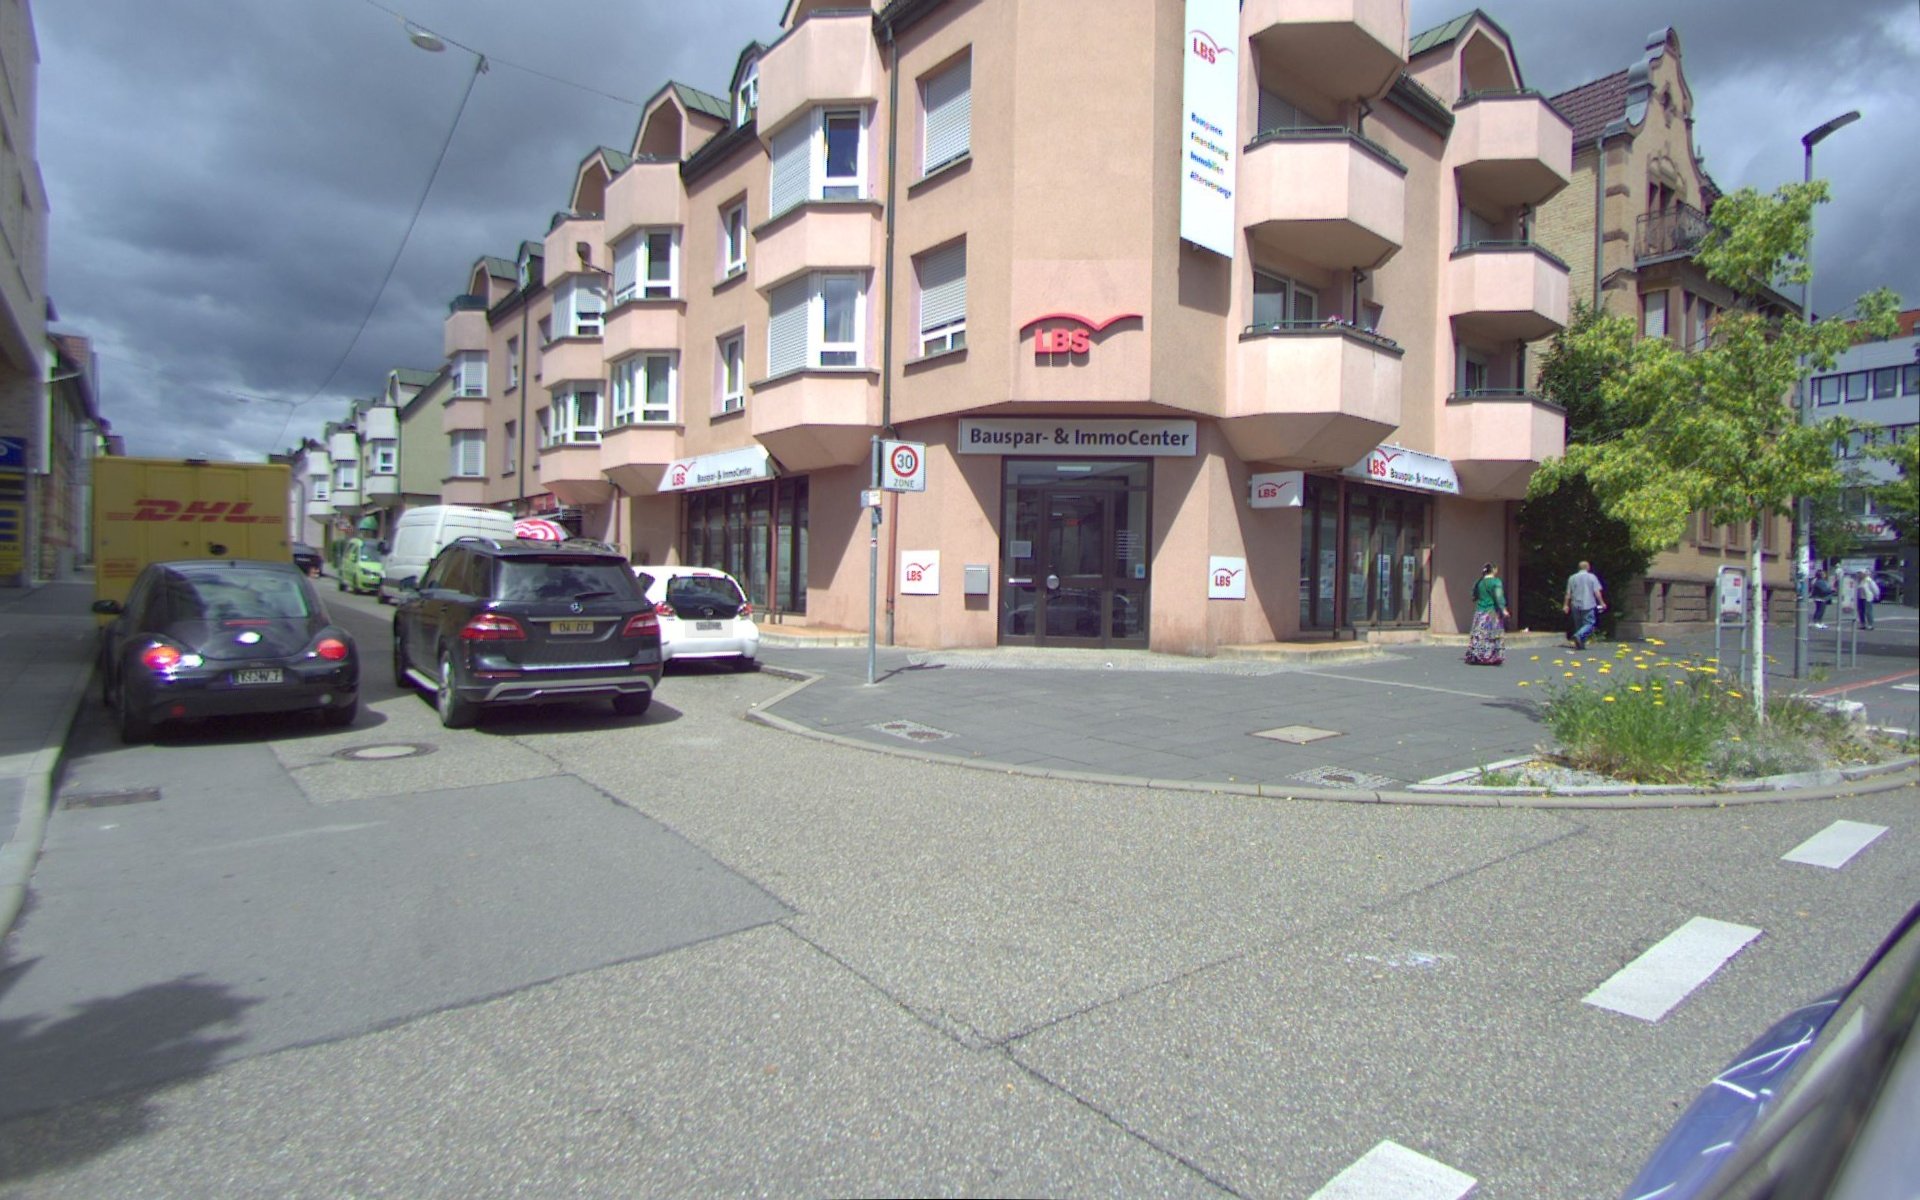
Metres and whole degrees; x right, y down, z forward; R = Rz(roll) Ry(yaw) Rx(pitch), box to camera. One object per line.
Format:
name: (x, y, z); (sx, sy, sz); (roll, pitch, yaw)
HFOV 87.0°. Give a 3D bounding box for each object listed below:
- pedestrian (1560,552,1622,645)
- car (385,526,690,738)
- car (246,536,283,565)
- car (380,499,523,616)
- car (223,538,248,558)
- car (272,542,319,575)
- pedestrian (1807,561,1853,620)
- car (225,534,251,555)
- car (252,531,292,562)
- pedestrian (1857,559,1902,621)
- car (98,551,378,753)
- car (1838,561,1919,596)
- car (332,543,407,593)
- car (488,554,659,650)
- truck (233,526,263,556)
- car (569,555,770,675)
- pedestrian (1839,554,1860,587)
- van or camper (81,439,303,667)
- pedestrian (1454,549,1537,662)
pedestrian: (11.967, -0.051, 19.205); (0.928, 1.706, 0.717); (-2, 3, -40)
car: (-4.714, 0.164, 10.847); (1.963, 1.768, 4.532); (0, 2, -37)
car: (-42.239, -3.036, 61.418); (1.602, 1.662, 3.775); (0, 2, -38)
car: (-12.862, -1.076, 25.346); (2.088, 2.585, 5.903); (0, 2, -38)
car: (-64.481, -4.646, 90.049); (1.602, 1.662, 3.775); (0, 2, -38)
car: (-32.056, -2.028, 48.784); (1.602, 1.495, 3.775); (0, 3, -38)
pedestrian: (24.660, -0.276, 28.691); (0.661, 1.660, 0.742); (-1, 1, -11)
car: (-59.671, -4.599, 83.594); (1.602, 1.662, 3.775); (0, 2, -38)
car: (-39.037, -3.015, 57.405); (1.602, 1.662, 3.775); (0, 2, -38)
pedestrian: (25.657, -0.287, 28.239); (0.725, 1.679, 0.699); (-1, 1, -25)
car: (-7.072, 0.322, 9.744); (1.753, 1.495, 3.900); (0, 3, -42)
car: (45.425, -1.029, 48.961); (1.960, 1.672, 4.003); (0, 0, -30)
car: (-19.120, -1.049, 32.722); (1.602, 1.495, 3.775); (0, 3, -38)
car: (-7.103, -0.041, 18.361); (1.799, 1.495, 4.021); (0, 3, -38)
truck: (-53.956, -4.487, 76.643); (1.602, 2.161, 5.388); (0, 2, -38)
car: (-4.347, 0.139, 14.853); (1.687, 1.495, 3.391); (0, 3, -38)
pedestrian: (53.162, -1.755, 60.491); (0.751, 1.937, 0.686); (-1, 1, -27)
van or camper: (-11.973, -0.794, 15.682); (2.236, 2.769, 6.873); (-2, 4, -39)
pedestrian: (8.222, 0.066, 15.533); (0.910, 1.659, 0.746); (1, 2, -38)
